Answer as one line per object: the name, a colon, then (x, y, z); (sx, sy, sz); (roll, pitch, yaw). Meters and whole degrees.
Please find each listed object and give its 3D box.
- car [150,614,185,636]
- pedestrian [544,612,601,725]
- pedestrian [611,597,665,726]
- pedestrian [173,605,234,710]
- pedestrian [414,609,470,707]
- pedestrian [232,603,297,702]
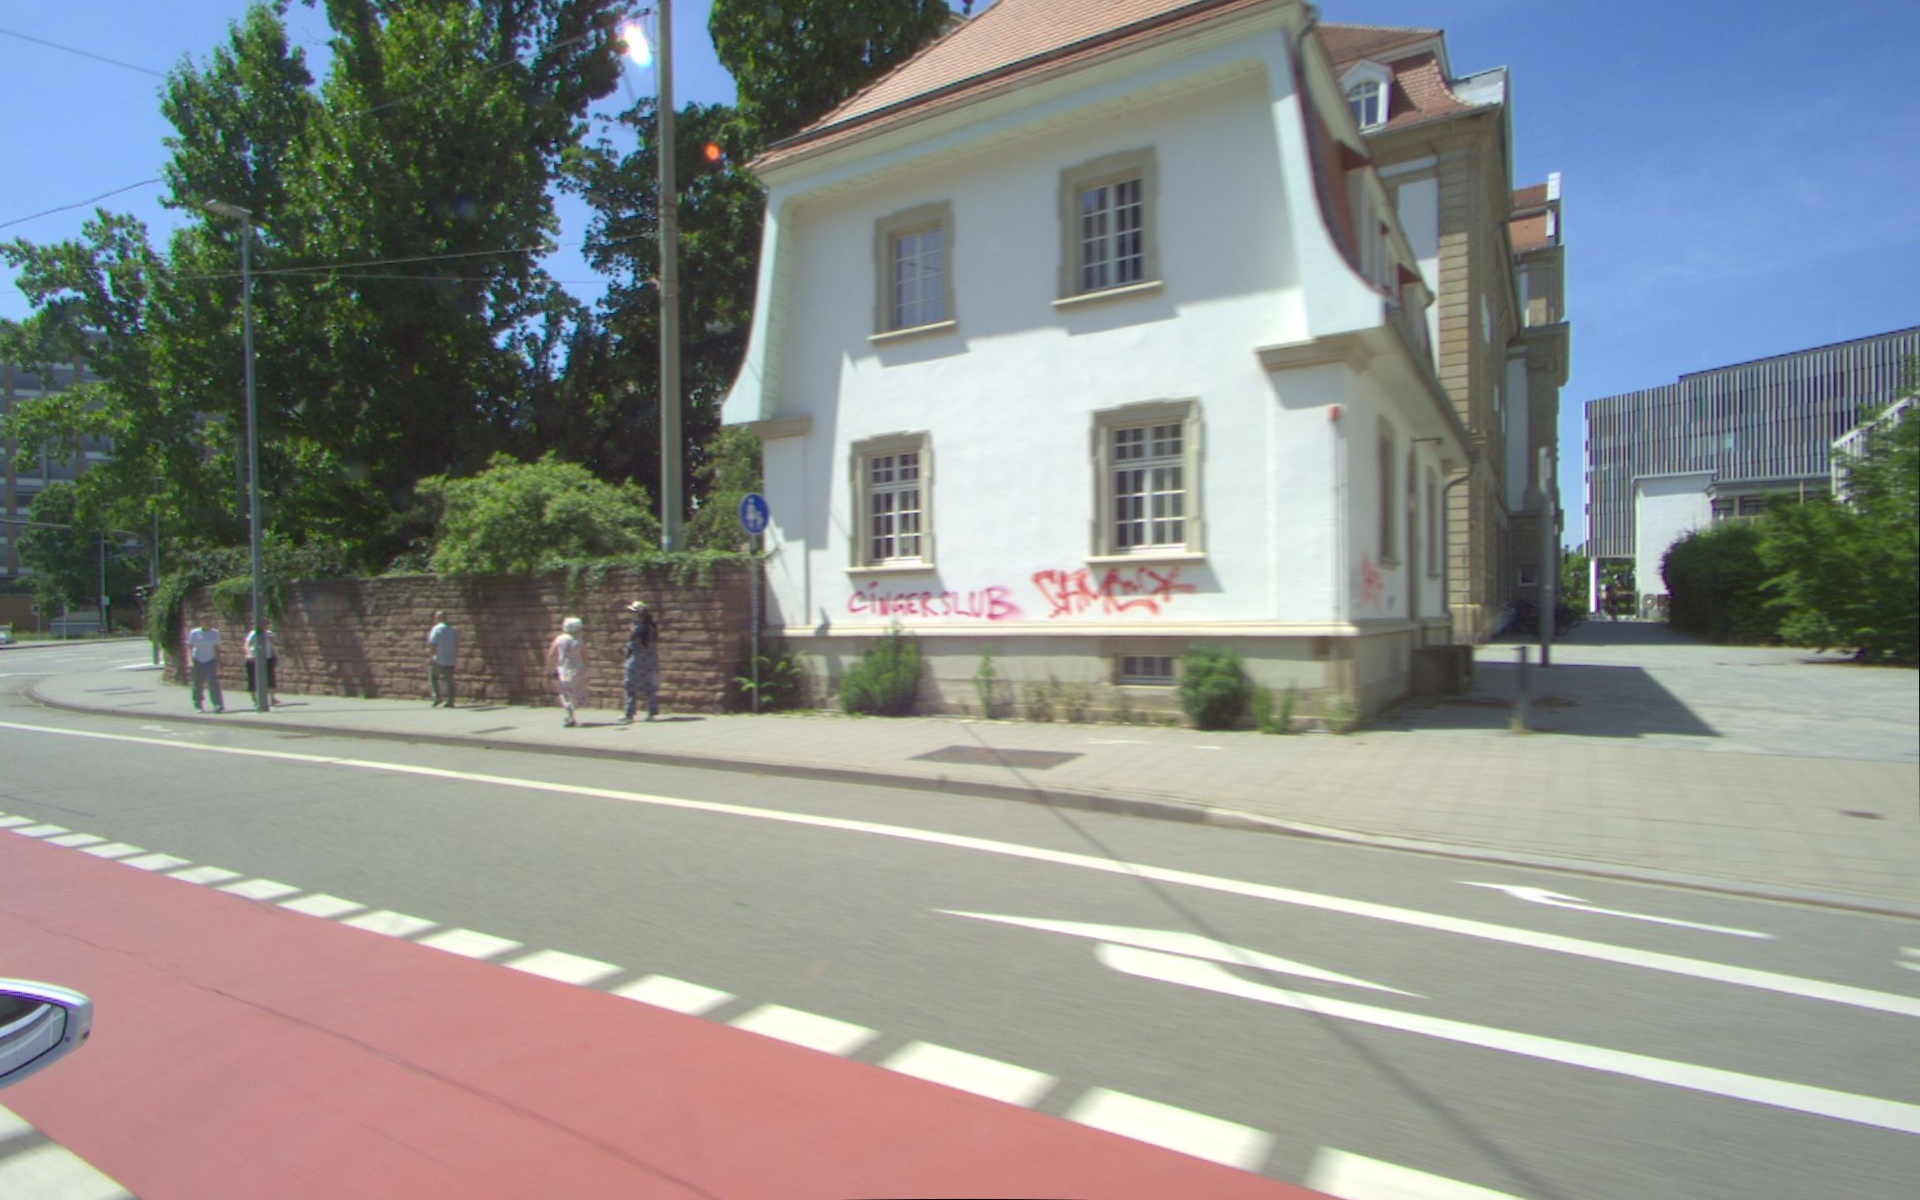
car: (-58.377, 1.826, 73.777); (1.671, 1.547, 3.667); (0, 0, -33)
pedestrian: (-5.521, 0.956, 14.260); (0.590, 1.553, 0.513); (0, 1, 37)
pedestrian: (-4.648, 0.890, 14.490); (0.617, 1.794, 0.719); (-1, -4, -7)
pedestrian: (-13.641, 1.016, 18.058); (0.738, 1.832, 0.675); (0, 1, 36)
pedestrian: (-9.072, 1.004, 17.544); (0.616, 1.669, 0.658); (0, 1, 37)
pedestrian: (-13.168, 0.970, 18.964); (0.691, 1.832, 0.811); (0, 1, 36)
